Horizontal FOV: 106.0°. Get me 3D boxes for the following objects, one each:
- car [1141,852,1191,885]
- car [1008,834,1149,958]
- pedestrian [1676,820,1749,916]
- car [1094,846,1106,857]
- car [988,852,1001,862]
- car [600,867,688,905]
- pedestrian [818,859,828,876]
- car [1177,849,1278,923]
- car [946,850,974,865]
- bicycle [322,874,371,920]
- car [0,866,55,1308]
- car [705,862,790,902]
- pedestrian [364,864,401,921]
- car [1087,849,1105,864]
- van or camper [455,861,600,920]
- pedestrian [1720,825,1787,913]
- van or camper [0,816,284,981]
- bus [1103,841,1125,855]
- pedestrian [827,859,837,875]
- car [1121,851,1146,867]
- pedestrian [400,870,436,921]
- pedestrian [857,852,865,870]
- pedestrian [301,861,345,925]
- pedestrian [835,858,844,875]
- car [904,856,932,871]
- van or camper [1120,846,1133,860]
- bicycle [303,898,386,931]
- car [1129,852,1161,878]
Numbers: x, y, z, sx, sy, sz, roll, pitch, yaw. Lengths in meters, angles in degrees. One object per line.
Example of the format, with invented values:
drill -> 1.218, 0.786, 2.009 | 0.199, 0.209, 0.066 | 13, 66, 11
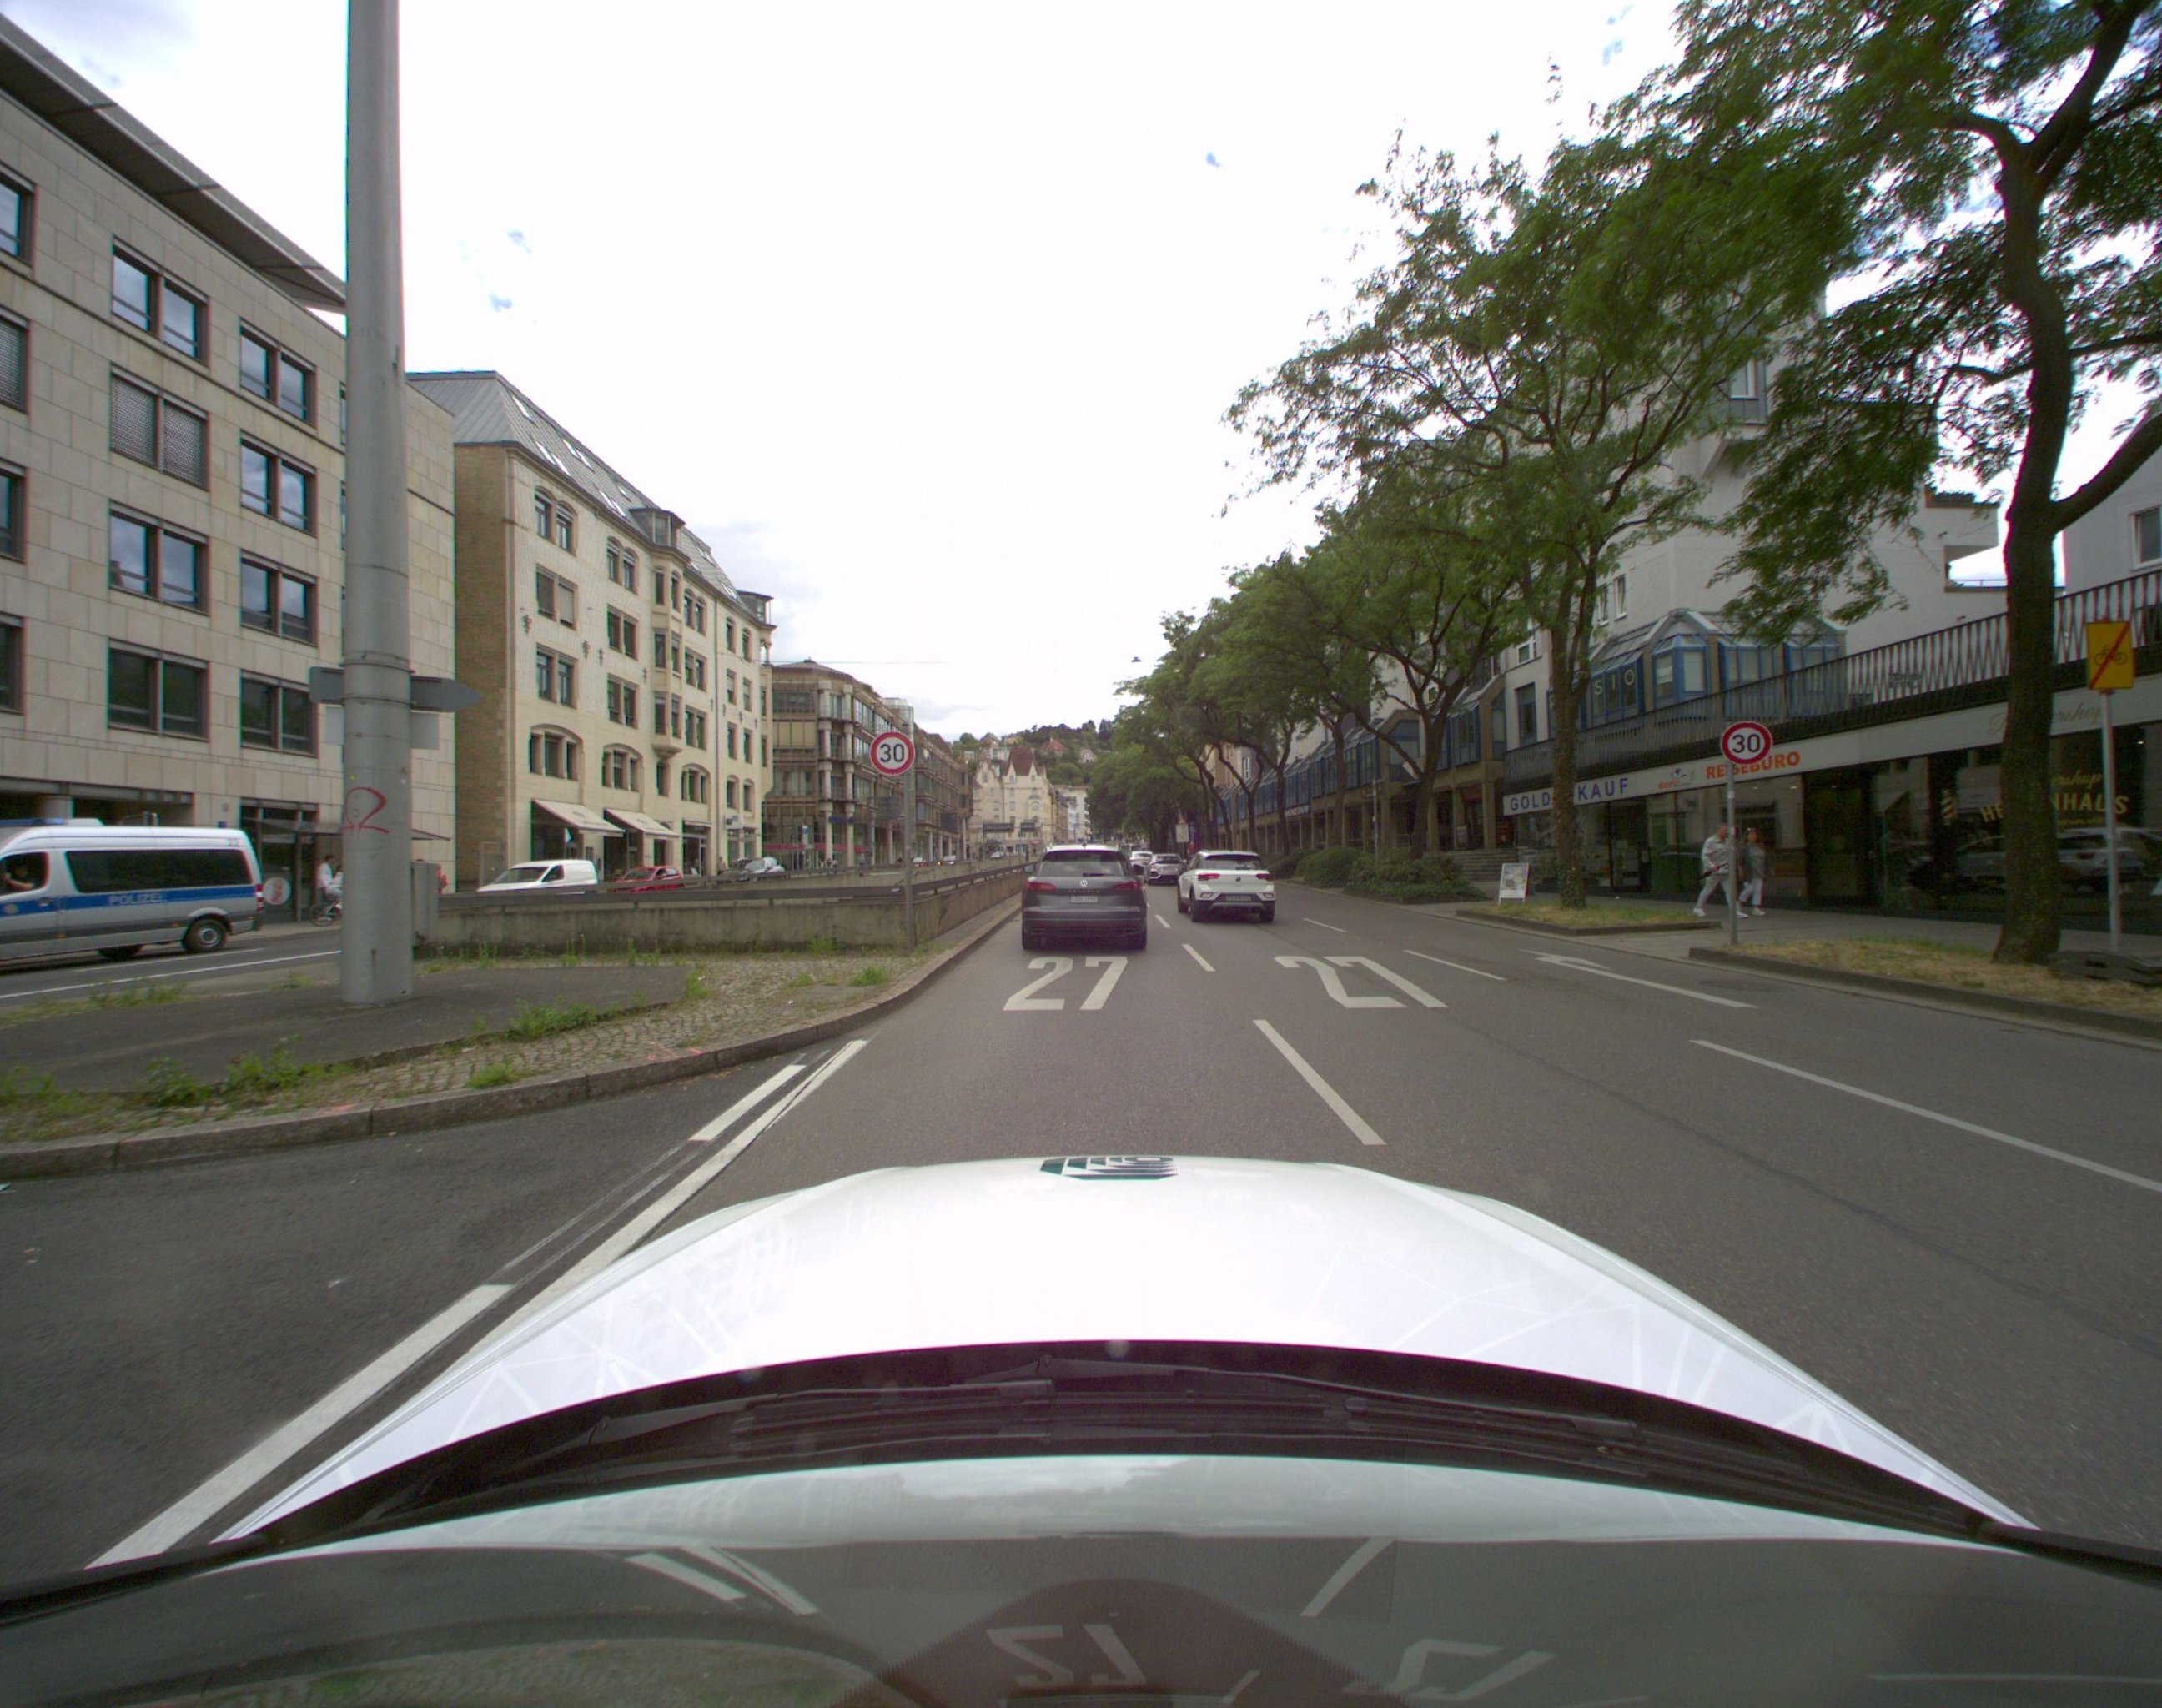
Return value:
car -> 3.907, 0.693, 38.138 | 1.828, 1.432, 4.145 | -1, -1, -1
car -> -0.040, 0.598, 13.907 | 1.964, 1.695, 4.224 | -3, 0, 0
pedestrian -> 12.105, 0.254, 15.633 | 0.594, 1.754, 0.939 | -2, 0, -5
car -> 3.374, -0.455, 142.329 | 1.825, 1.874, 4.873 | -3, 0, 2
car -> -16.227, 0.605, 153.081 | 1.986, 1.767, 4.281 | -2, 0, 1
car -> -18.486, 1.319, 34.665 | 1.782, 1.405, 3.582 | -2, 0, -1
pedestrian -> -24.225, 1.245, 76.575 | 0.699, 1.544, 0.845 | -2, 0, -7
car -> 3.278, 0.665, 18.891 | 1.790, 1.545, 3.938 | 0, 0, 2
car -> -13.421, 0.408, 90.672 | 1.985, 1.585, 4.892 | -2, 0, 3
bicycle -> -21.070, 1.215, 23.384 | 0.630, 1.260, 0.844 | -1, 0, -3
car -> -5.965, 0.838, 2.229 | 4.524, 1.458, 1.886 | -2, 0, 9
car -> -14.788, 1.200, 36.419 | 1.913, 1.527, 4.540 | -2, 0, -1
pedestrian -> -22.412, 1.223, 26.139 | 0.550, 1.753, 0.680 | -2, 0, 0
car -> 1.706, 0.308, 90.643 | 1.825, 1.567, 3.769 | -3, 0, 2
van or camper -> -18.753, 1.168, 27.890 | 1.862, 1.751, 4.486 | -1, 0, 0
pedestrian -> 12.903, 0.277, 15.653 | 0.594, 1.629, 0.756 | -2, 0, -5
van or camper -> -19.358, 0.767, 15.030 | 2.991, 2.726, 6.247 | -2, 0, 1
bus -> 8.713, -1.533, 214.444 | 3.827, 3.531, 17.288 | -2, 0, 9
pedestrian -> -23.471, 1.213, 76.670 | 0.699, 1.544, 0.845 | -2, 0, -7
car -> 4.727, 0.427, 74.423 | 1.828, 1.363, 3.763 | -3, 0, -3
pedestrian -> -21.092, 1.301, 25.907 | 0.550, 1.577, 0.680 | -2, 0, 0
pedestrian -> -22.193, 0.717, 82.058 | 0.530, 1.793, 0.695 | 2, -1, 2
pedestrian -> -22.753, 1.151, 24.458 | 0.614, 1.874, 0.680 | -2, 0, 0
pedestrian -> -22.755, 1.187, 76.764 | 0.699, 1.544, 0.845 | -2, 0, -7
car -> -16.901, 0.964, 84.746 | 1.988, 1.464, 4.882 | -2, 0, -2
van or camper -> 10.335, -0.289, 185.954 | 2.619, 3.178, 5.803 | -2, 0, 0
bicycle -> -21.045, 1.705, 23.317 | 0.630, 0.762, 1.957 | -2, 0, -2
car -> 4.088, 0.672, 52.513 | 1.825, 1.517, 3.768 | -2, 0, 1
